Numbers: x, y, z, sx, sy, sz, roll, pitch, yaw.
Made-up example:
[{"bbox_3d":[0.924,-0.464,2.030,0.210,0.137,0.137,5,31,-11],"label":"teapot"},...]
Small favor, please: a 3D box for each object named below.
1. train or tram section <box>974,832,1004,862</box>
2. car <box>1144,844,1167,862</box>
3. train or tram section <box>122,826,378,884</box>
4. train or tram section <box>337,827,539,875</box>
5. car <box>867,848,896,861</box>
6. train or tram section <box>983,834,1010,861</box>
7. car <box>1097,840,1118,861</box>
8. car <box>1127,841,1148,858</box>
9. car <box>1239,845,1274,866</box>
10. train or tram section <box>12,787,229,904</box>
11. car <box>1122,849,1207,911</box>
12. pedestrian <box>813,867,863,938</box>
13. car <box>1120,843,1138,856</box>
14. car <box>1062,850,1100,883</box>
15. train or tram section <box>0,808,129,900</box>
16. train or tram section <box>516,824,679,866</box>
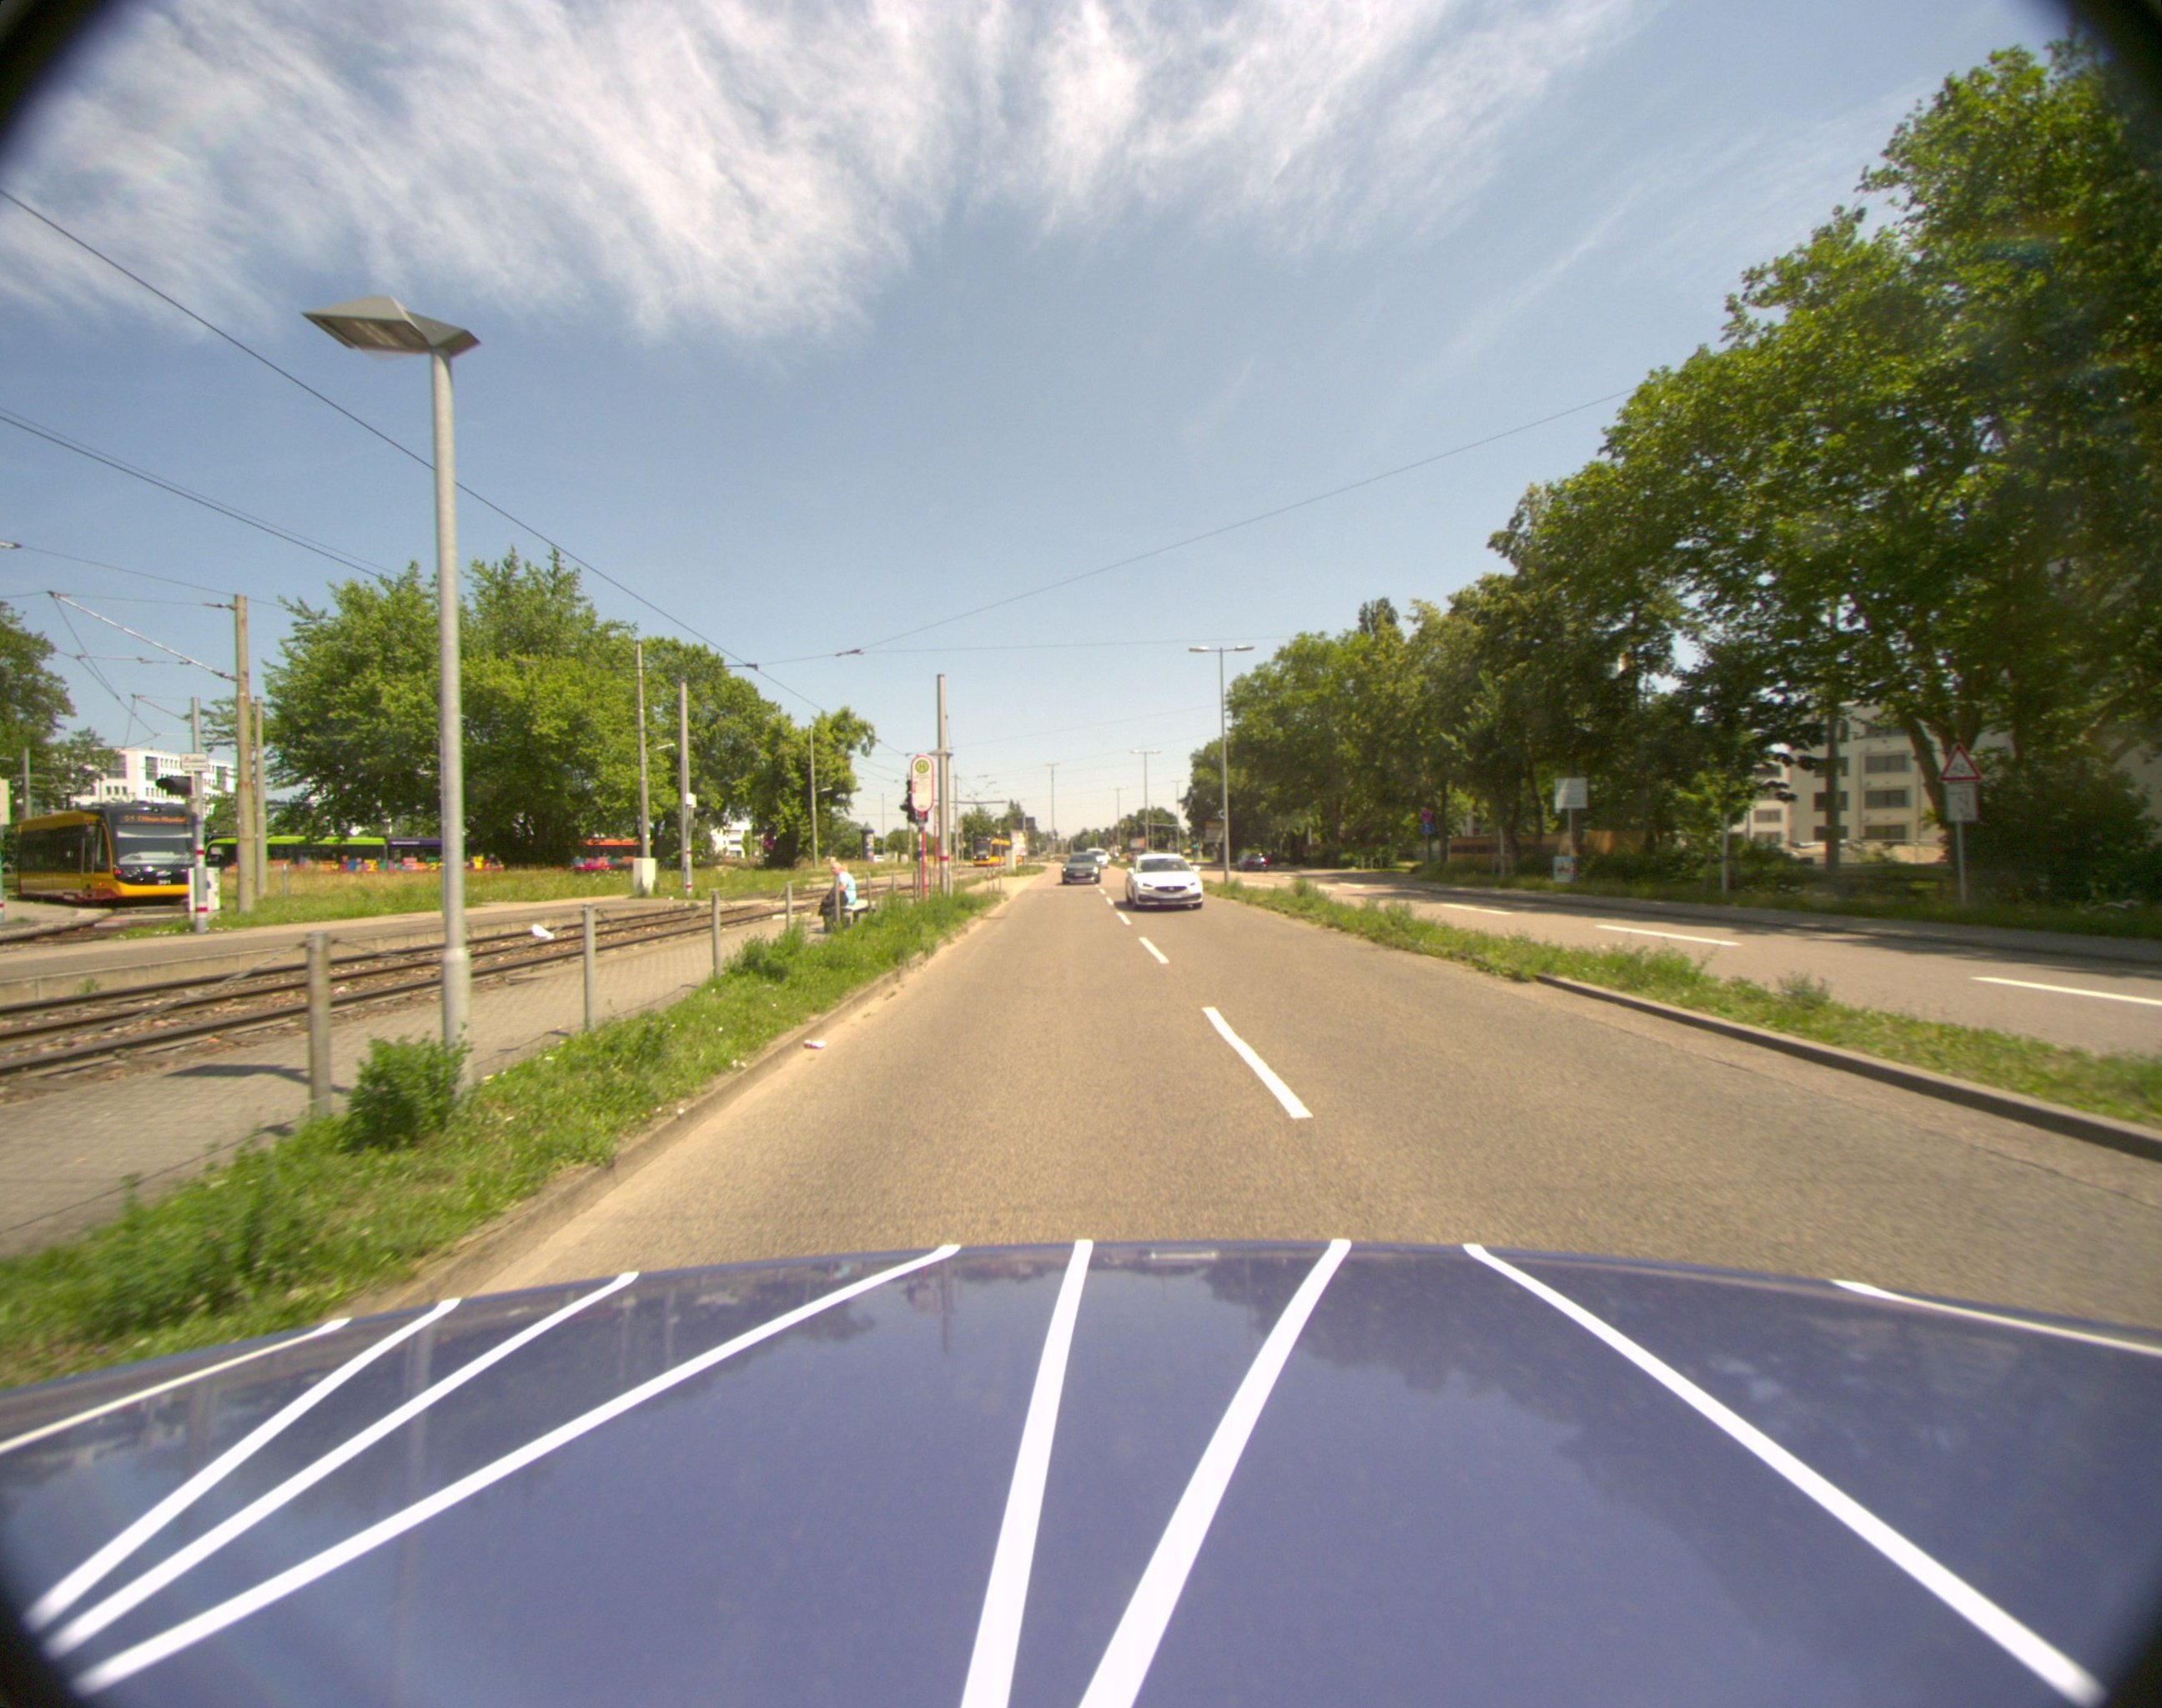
[{"bbox_3d":[-10.872,-0.825,90.141,2.524,3.303,7.259,0,1,1],"label":"train or tram section"},{"bbox_3d":[7.311,-0.137,74.553,1.816,1.631,3.999,-2,2,0],"label":"car"},{"bbox_3d":[-57.901,-0.004,53.924,2.712,3.598,13.255,0,1,5],"label":"train or tram section"},{"bbox_3d":[-54.865,-0.435,65.734,2.709,3.629,13.270,-1,2,24],"label":"train or tram section"},{"bbox_3d":[-27.013,0.010,102.899,1.849,1.609,4.004,-2,2,19],"label":"car"},{"bbox_3d":[-10.804,-0.878,97.442,2.524,3.303,7.259,0,1,1],"label":"train or tram section"},{"bbox_3d":[2.582,-0.369,74.404,1.998,2.002,4.000,0,1,2],"label":"car"},{"bbox_3d":[6.816,-0.517,92.100,1.999,2.002,3.998,0,1,-3],"label":"car"},{"bbox_3d":[13.279,0.081,57.775,1.744,1.499,4.635,0,1,3],"label":"car"},{"bbox_3d":[-35.773,-0.177,28.079,13.151,3.629,2.720,-1,2,29],"label":"train or tram section"},{"bbox_3d":[2.189,0.641,20.957,1.772,1.460,4.110,-2,1,-1],"label":"car"},{"bbox_3d":[-4.124,0.813,12.938,0.611,1.123,0.621,-2,2,-1],"label":"pedestrian"},{"bbox_3d":[6.529,-0.608,103.935,1.999,1.788,3.998,0,1,-3],"label":"car"},{"bbox_3d":[0.065,0.568,37.969,1.788,1.554,4.135,0,1,2],"label":"car"},{"bbox_3d":[-47.240,0.085,34.452,13.217,3.629,2.720,-1,2,29],"label":"train or tram section"},{"bbox_3d":[-47.829,-0.978,75.820,13.275,3.629,2.708,-4,2,-44],"label":"train or tram section"}]
